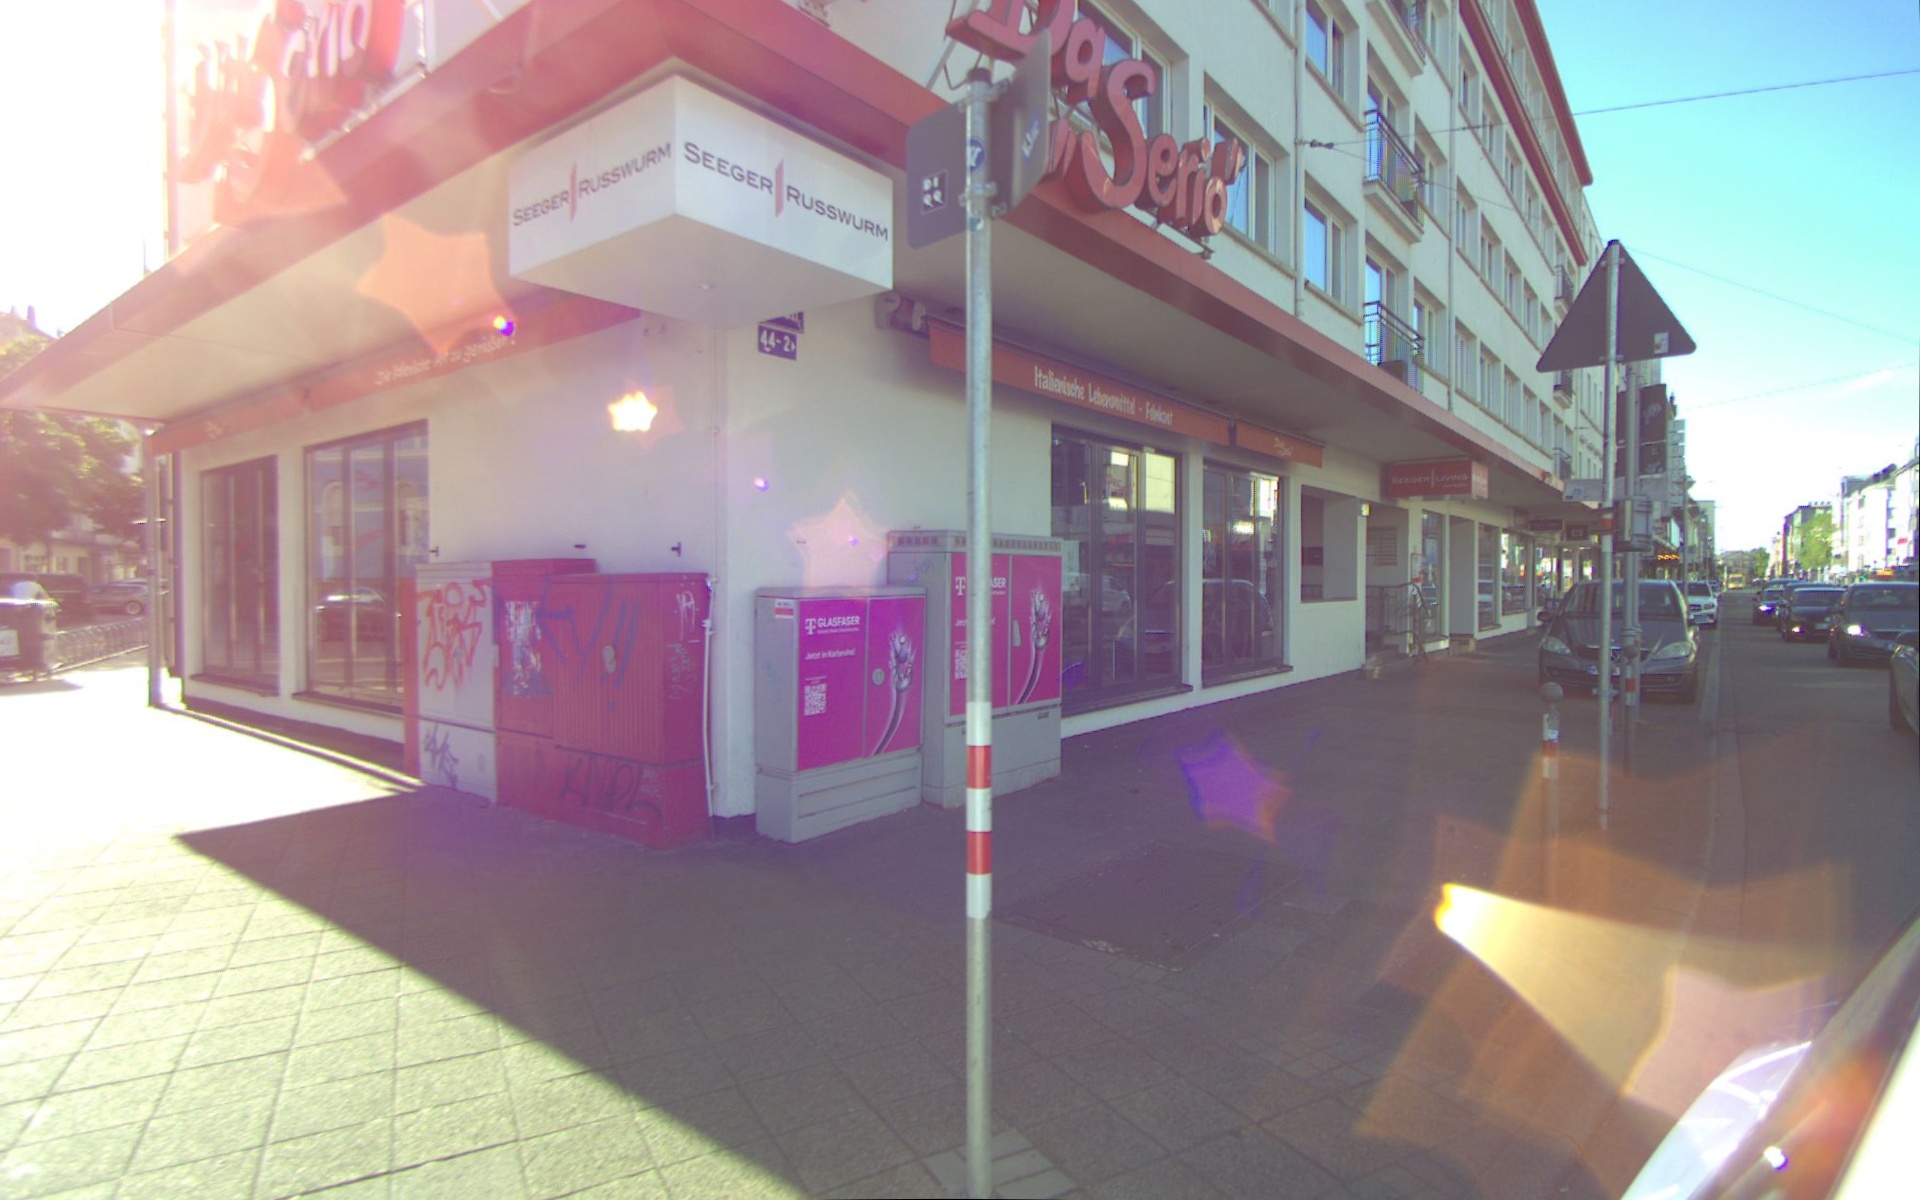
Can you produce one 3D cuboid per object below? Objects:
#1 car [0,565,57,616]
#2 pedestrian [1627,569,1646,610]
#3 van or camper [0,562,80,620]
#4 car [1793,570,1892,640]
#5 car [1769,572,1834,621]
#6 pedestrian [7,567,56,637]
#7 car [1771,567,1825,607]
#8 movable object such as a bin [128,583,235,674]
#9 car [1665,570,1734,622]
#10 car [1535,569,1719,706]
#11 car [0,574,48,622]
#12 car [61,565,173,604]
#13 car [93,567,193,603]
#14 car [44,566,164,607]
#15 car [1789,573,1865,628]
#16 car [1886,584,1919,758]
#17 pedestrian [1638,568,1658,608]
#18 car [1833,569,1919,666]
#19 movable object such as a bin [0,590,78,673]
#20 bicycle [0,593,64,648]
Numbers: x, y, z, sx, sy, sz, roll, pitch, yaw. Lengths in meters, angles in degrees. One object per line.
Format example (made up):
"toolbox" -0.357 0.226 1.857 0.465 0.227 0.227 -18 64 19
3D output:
"car" -36.567 -0.421 37.657 4.096 1.826 1.883 3 -1 -33
"pedestrian" 30.556 -0.464 45.702 0.702 1.840 0.797 0 1 36
"van or camper" -34.274 -0.364 35.518 1.864 1.973 4.720 2 -1 26
"car" 23.694 0.069 27.281 1.776 1.683 3.906 2 3 39
"car" 31.313 -0.181 37.738 1.730 1.683 3.729 2 3 39
"pedestrian" -19.760 0.046 21.546 0.553 1.438 0.675 3 -1 -27
"car" 37.578 -0.617 45.465 1.730 1.683 3.906 2 3 39
"movable object such as a bin" -13.265 0.451 17.297 1.256 1.458 1.221 -1 1 -29
"car" 26.221 -0.205 35.847 1.776 1.683 4.106 2 3 39
"car" 9.389 0.387 14.120 1.774 1.588 3.906 2 3 39
"car" -32.888 -0.122 33.007 1.864 1.569 4.272 2 -1 26
"car" -42.891 -0.795 51.606 4.026 1.746 1.884 3 -1 -30
"car" -45.779 -0.828 56.795 4.026 1.746 1.884 3 -1 -30
"car" -41.106 -0.654 48.723 4.026 1.746 1.884 3 -1 -30
"car" 28.905 -0.040 33.839 1.730 1.683 3.906 2 3 39
"car" 9.476 0.653 8.700 1.861 1.456 4.709 3 3 38
"pedestrian" 31.497 -0.556 46.338 0.734 1.840 0.739 0 1 37
"car" 17.967 0.268 19.339 1.730 1.683 3.906 2 3 39
"movable object such as a bin" -15.769 0.504 16.768 1.390 1.305 1.652 -1 1 -29
"bicycle" -19.750 0.416 21.573 0.547 1.100 1.547 3 -1 -26
